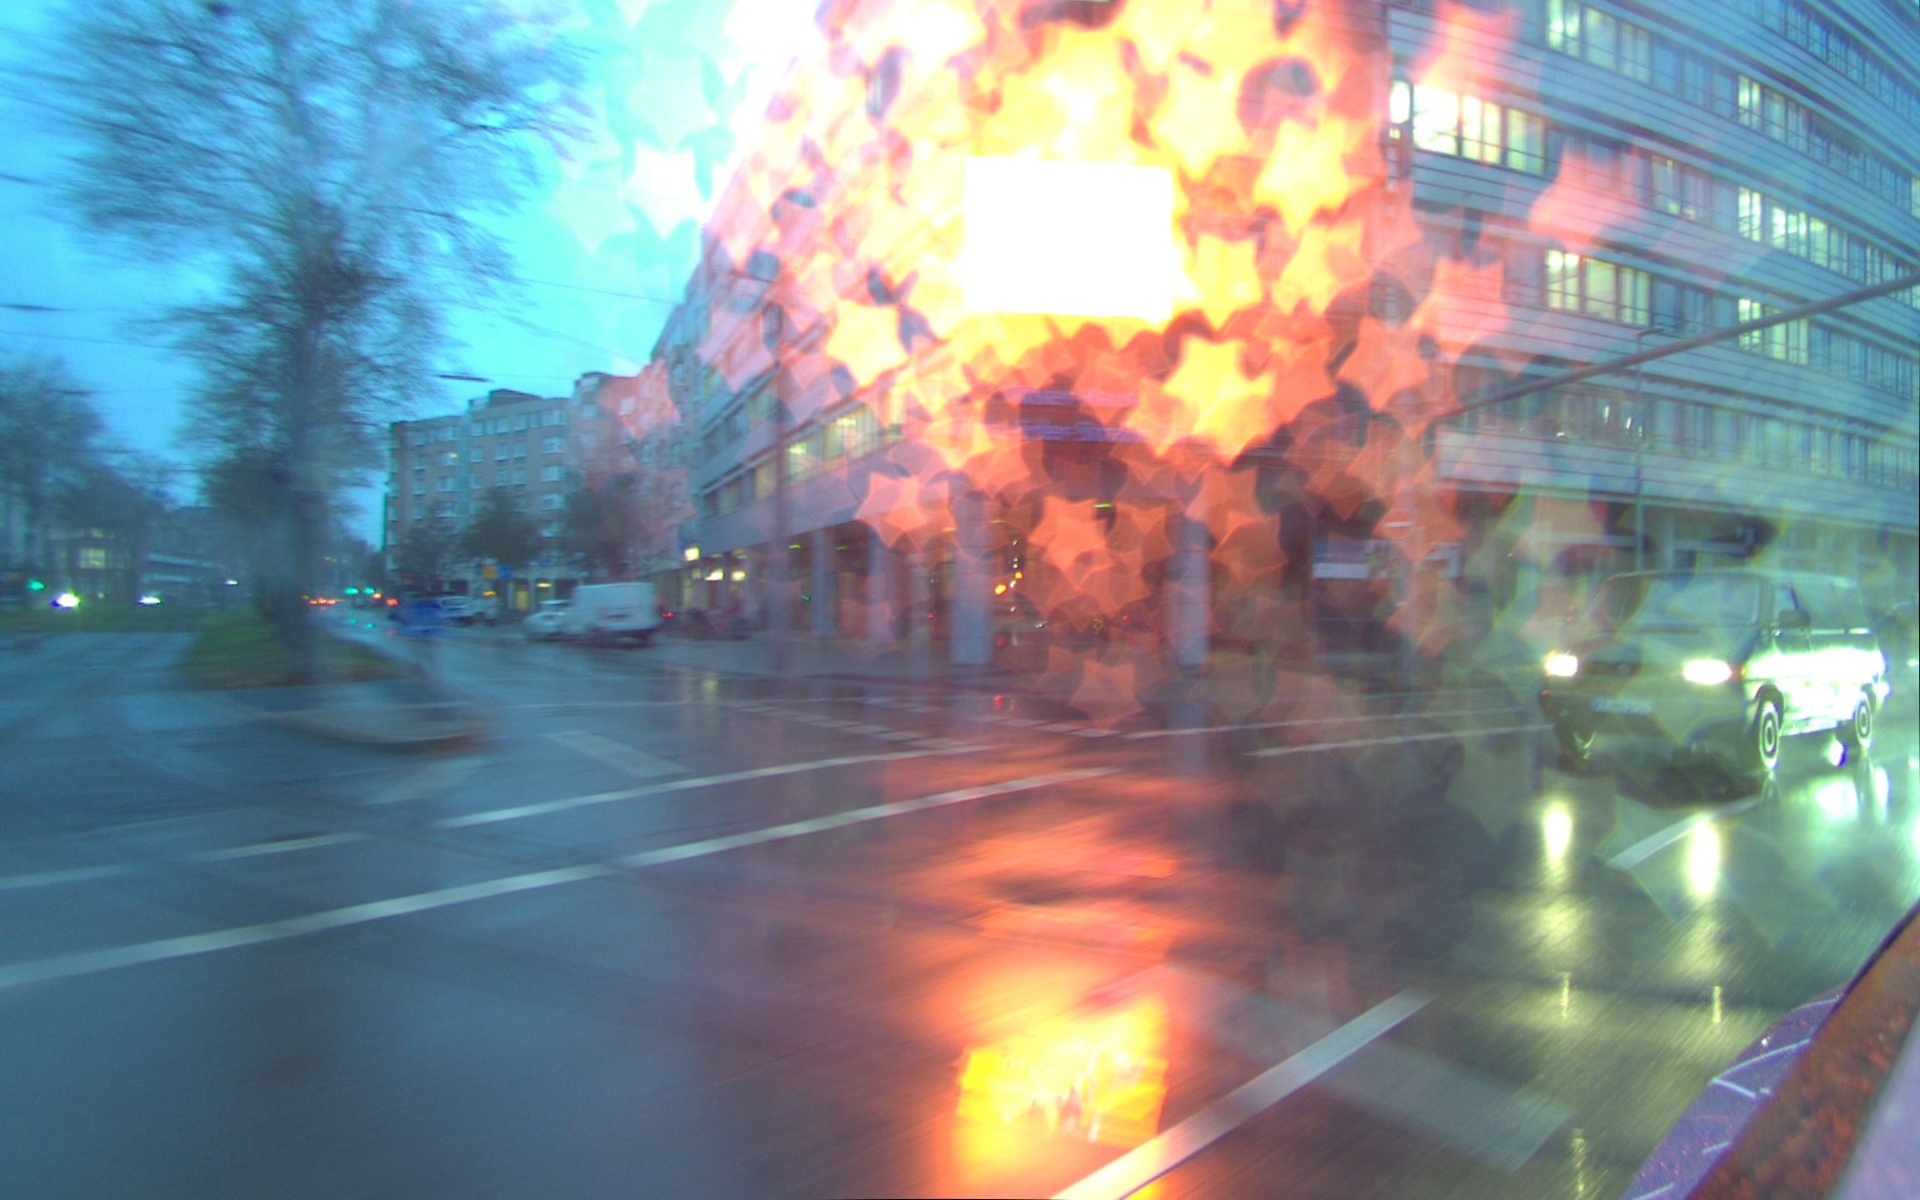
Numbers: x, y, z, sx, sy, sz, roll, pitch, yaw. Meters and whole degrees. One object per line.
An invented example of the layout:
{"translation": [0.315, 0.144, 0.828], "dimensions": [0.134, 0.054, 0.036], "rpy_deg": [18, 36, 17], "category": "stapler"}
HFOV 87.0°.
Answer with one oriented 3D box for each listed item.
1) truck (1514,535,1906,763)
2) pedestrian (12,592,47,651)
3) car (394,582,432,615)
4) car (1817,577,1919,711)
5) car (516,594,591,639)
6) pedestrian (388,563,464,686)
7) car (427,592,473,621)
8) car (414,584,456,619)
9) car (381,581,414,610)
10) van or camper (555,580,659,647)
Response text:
{"translation": [8.018, 0.488, 10.701], "dimensions": [4.527, 1.942, 1.910], "rpy_deg": [1, -3, -34], "category": "truck"}
{"translation": [-22.238, 0.511, 24.197], "dimensions": [0.469, 1.381, 0.607], "rpy_deg": [1, -1, -29], "category": "pedestrian"}
{"translation": [-34.777, -0.110, 64.288], "dimensions": [1.806, 1.975, 4.002], "rpy_deg": [1, 0, -33], "category": "car"}
{"translation": [15.091, 0.646, 15.139], "dimensions": [4.594, 1.843, 1.912], "rpy_deg": [1, -2, -29], "category": "car"}
{"translation": [-14.890, 0.595, 36.972], "dimensions": [1.612, 1.548, 3.842], "rpy_deg": [1, -1, -36], "category": "car"}
{"translation": [-8.226, 0.366, 15.610], "dimensions": [0.790, 1.834, 0.647], "rpy_deg": [1, -1, 19], "category": "pedestrian"}
{"translation": [-27.652, 0.337, 54.830], "dimensions": [1.806, 1.451, 4.002], "rpy_deg": [1, 0, -33], "category": "car"}
{"translation": [-30.834, 0.072, 59.368], "dimensions": [1.806, 1.975, 4.002], "rpy_deg": [1, 0, -33], "category": "car"}
{"translation": [-40.384, -0.338, 72.630], "dimensions": [1.806, 1.975, 4.002], "rpy_deg": [1, 0, -33], "category": "car"}
{"translation": [-11.268, 0.413, 32.063], "dimensions": [1.807, 1.953, 4.746], "rpy_deg": [1, -1, -36], "category": "van or camper"}
